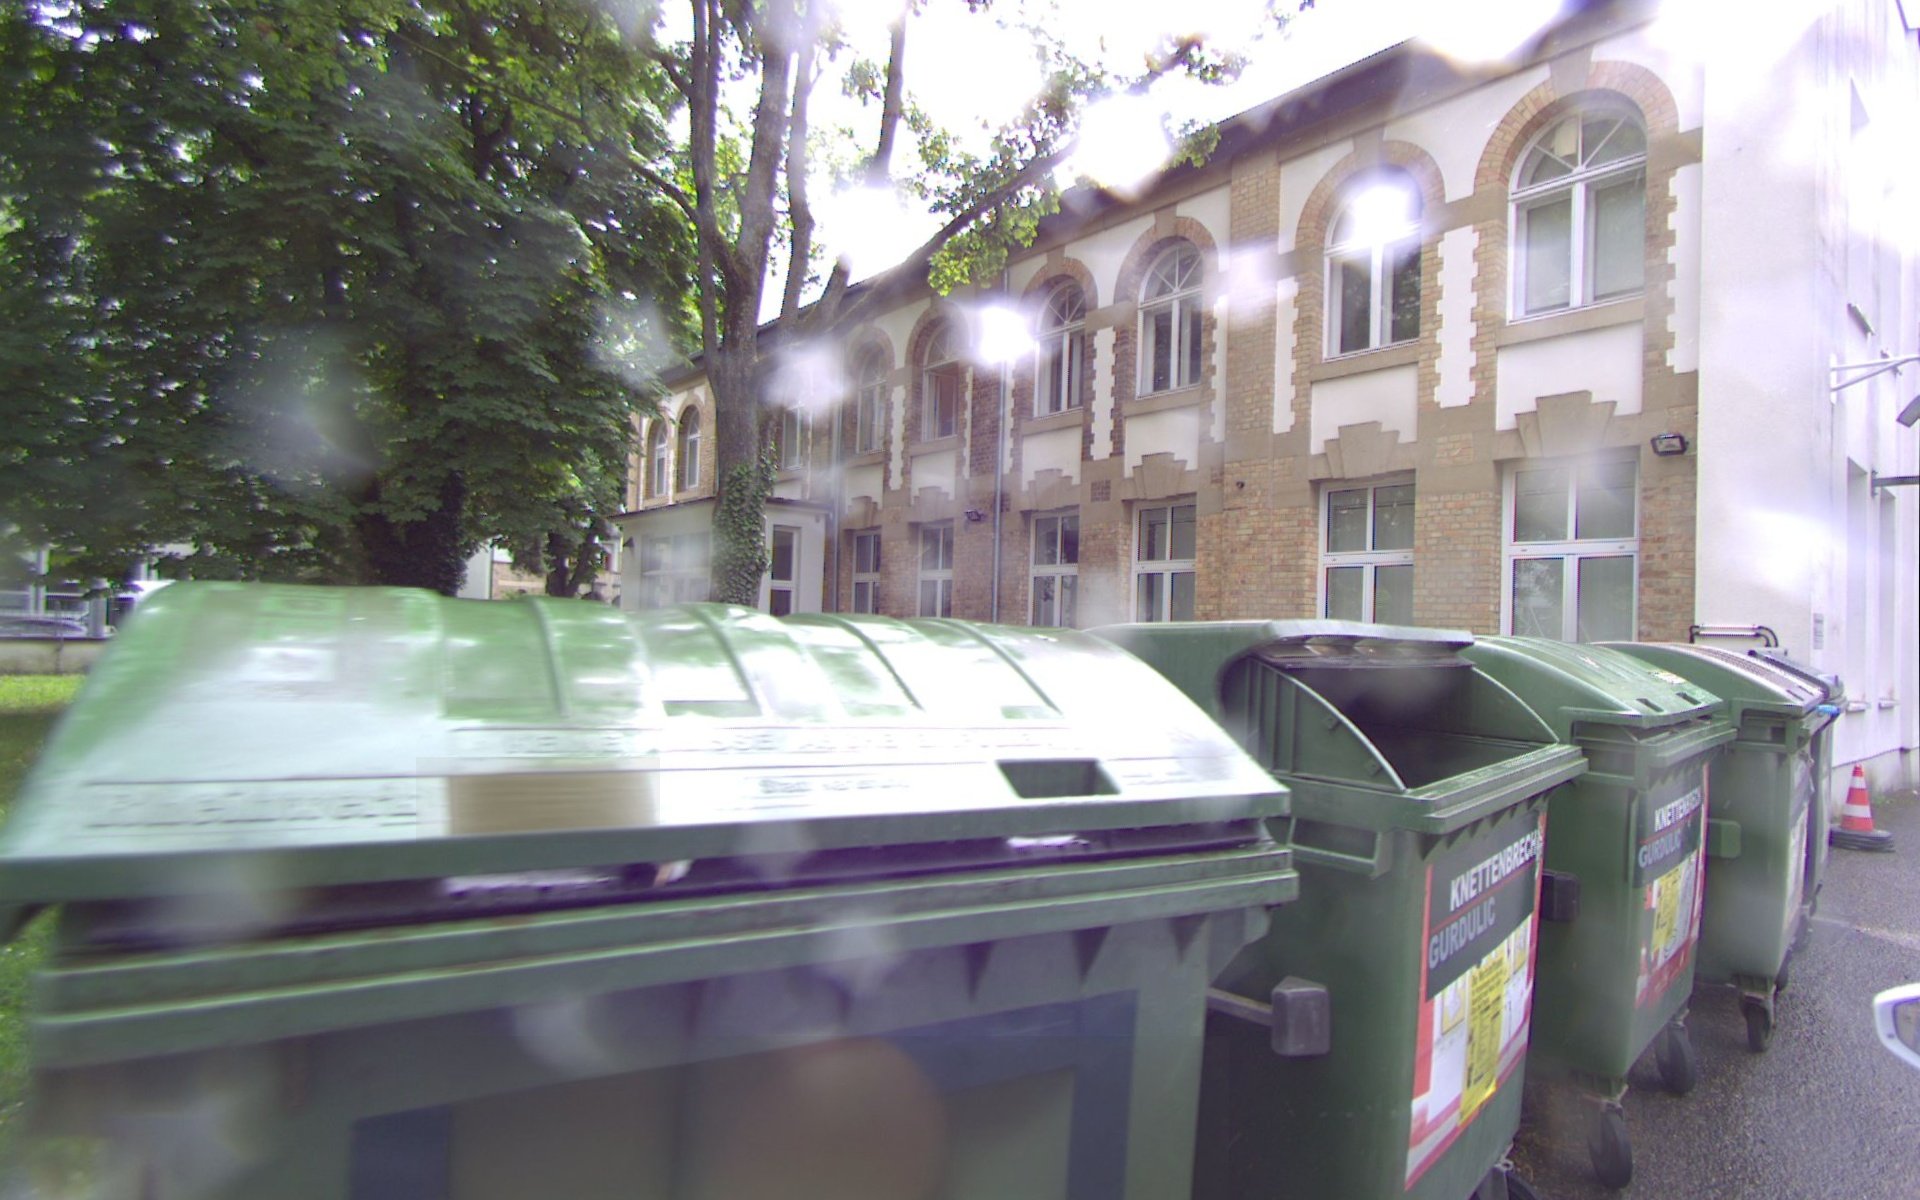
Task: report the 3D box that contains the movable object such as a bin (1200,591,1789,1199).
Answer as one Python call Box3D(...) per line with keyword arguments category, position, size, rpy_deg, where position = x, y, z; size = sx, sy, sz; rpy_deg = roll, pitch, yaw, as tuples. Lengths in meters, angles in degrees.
Box3D(category="movable object such as a bin", position=(1.806, 0.755, 3.433), size=(1.342, 1.490, 1.347), rpy_deg=(2, 0, -41))

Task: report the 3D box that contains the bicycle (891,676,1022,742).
Box3D(category="bicycle", position=(-0.015, 1.521, 14.259), size=(2.040, 0.810, 0.448), rpy_deg=(2, 0, -41))

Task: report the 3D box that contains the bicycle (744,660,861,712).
Box3D(category="bicycle", position=(-2.703, 1.467, 17.428), size=(2.040, 0.810, 0.448), rpy_deg=(2, 0, -41))

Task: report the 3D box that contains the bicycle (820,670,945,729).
Box3D(category="bicycle", position=(-1.177, 1.516, 15.618), size=(2.040, 0.810, 0.448), rpy_deg=(2, 0, -41))

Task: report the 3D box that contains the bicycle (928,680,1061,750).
Box3D(category="bicycle", position=(0.508, 1.547, 13.757), size=(2.040, 0.810, 0.448), rpy_deg=(2, 0, -41))

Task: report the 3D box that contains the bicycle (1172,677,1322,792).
Box3D(category="bicycle", position=(3.080, 1.377, 10.644), size=(2.040, 1.052, 0.448), rpy_deg=(2, 0, -41))

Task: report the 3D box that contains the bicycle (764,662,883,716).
Box3D(category="bicycle", position=(-2.267, 1.471, 16.885), size=(2.040, 0.810, 0.448), rpy_deg=(2, 0, -41))

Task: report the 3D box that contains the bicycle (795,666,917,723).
Box3D(category="bicycle", position=(-1.641, 1.492, 16.158), size=(2.040, 0.810, 0.448), rpy_deg=(2, 0, -41))

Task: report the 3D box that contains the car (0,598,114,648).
Box3D(category="car", position=(-33.066, 0.826, 35.885), size=(4.040, 1.672, 1.775), rpy_deg=(4, -4, -32))

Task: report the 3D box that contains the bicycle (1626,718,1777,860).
Box3D(category="bicycle", position=(5.625, 1.364, 7.571), size=(2.040, 0.810, 0.448), rpy_deg=(2, 0, -41))

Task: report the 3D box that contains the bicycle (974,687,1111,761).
Box3D(category="bicycle", position=(1.101, 1.581, 13.062), size=(2.040, 0.810, 0.448), rpy_deg=(2, 0, -41))

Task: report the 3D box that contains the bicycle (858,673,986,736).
Box3D(category="bicycle", position=(-0.527, 1.520, 14.860), size=(2.040, 0.810, 0.448), rpy_deg=(2, 0, -41))

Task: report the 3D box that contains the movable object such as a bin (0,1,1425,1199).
Box3D(category="movable object such as a bin", position=(-0.410, 0.480, 1.426), size=(1.549, 1.490, 1.396), rpy_deg=(2, 0, -41))

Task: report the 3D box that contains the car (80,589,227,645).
Box3D(category="car", position=(-31.356, 0.698, 39.198), size=(4.025, 1.957, 1.782), rpy_deg=(3, -3, -21))

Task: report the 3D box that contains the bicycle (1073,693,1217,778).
Box3D(category="bicycle", position=(2.183, 1.538, 11.658), size=(2.040, 0.810, 0.448), rpy_deg=(2, 0, -41))

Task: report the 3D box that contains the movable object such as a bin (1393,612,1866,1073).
Box3D(category="movable object such as a bin", position=(2.860, 0.838, 4.315), size=(1.355, 1.490, 1.347), rpy_deg=(2, 0, -41))

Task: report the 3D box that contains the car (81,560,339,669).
Box3D(category="car", position=(-19.715, 0.477, 26.761), size=(2.054, 2.615, 5.082), rpy_deg=(1, -3, 21))

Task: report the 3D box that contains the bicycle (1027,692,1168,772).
Box3D(category="bicycle", position=(1.717, 1.583, 12.295), size=(2.040, 0.810, 0.448), rpy_deg=(2, 0, -41))

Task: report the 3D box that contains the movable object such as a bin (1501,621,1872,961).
Box3D(category="movable object such as a bin", position=(3.987, 0.901, 5.527), size=(1.355, 1.490, 1.347), rpy_deg=(2, 0, -41))

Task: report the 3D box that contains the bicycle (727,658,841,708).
Box3D(category="bicycle", position=(-3.109, 1.454, 17.874), size=(2.040, 0.810, 0.448), rpy_deg=(2, 0, -41))

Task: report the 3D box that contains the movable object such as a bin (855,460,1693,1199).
Box3D(category="movable object such as a bin", position=(0.749, 0.548, 2.443), size=(1.454, 1.490, 1.347), rpy_deg=(2, 0, -41))

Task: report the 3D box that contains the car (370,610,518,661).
Box3D(category="car", position=(-17.036, 1.228, 33.396), size=(1.875, 1.542, 4.143), rpy_deg=(1, -3, 21))
